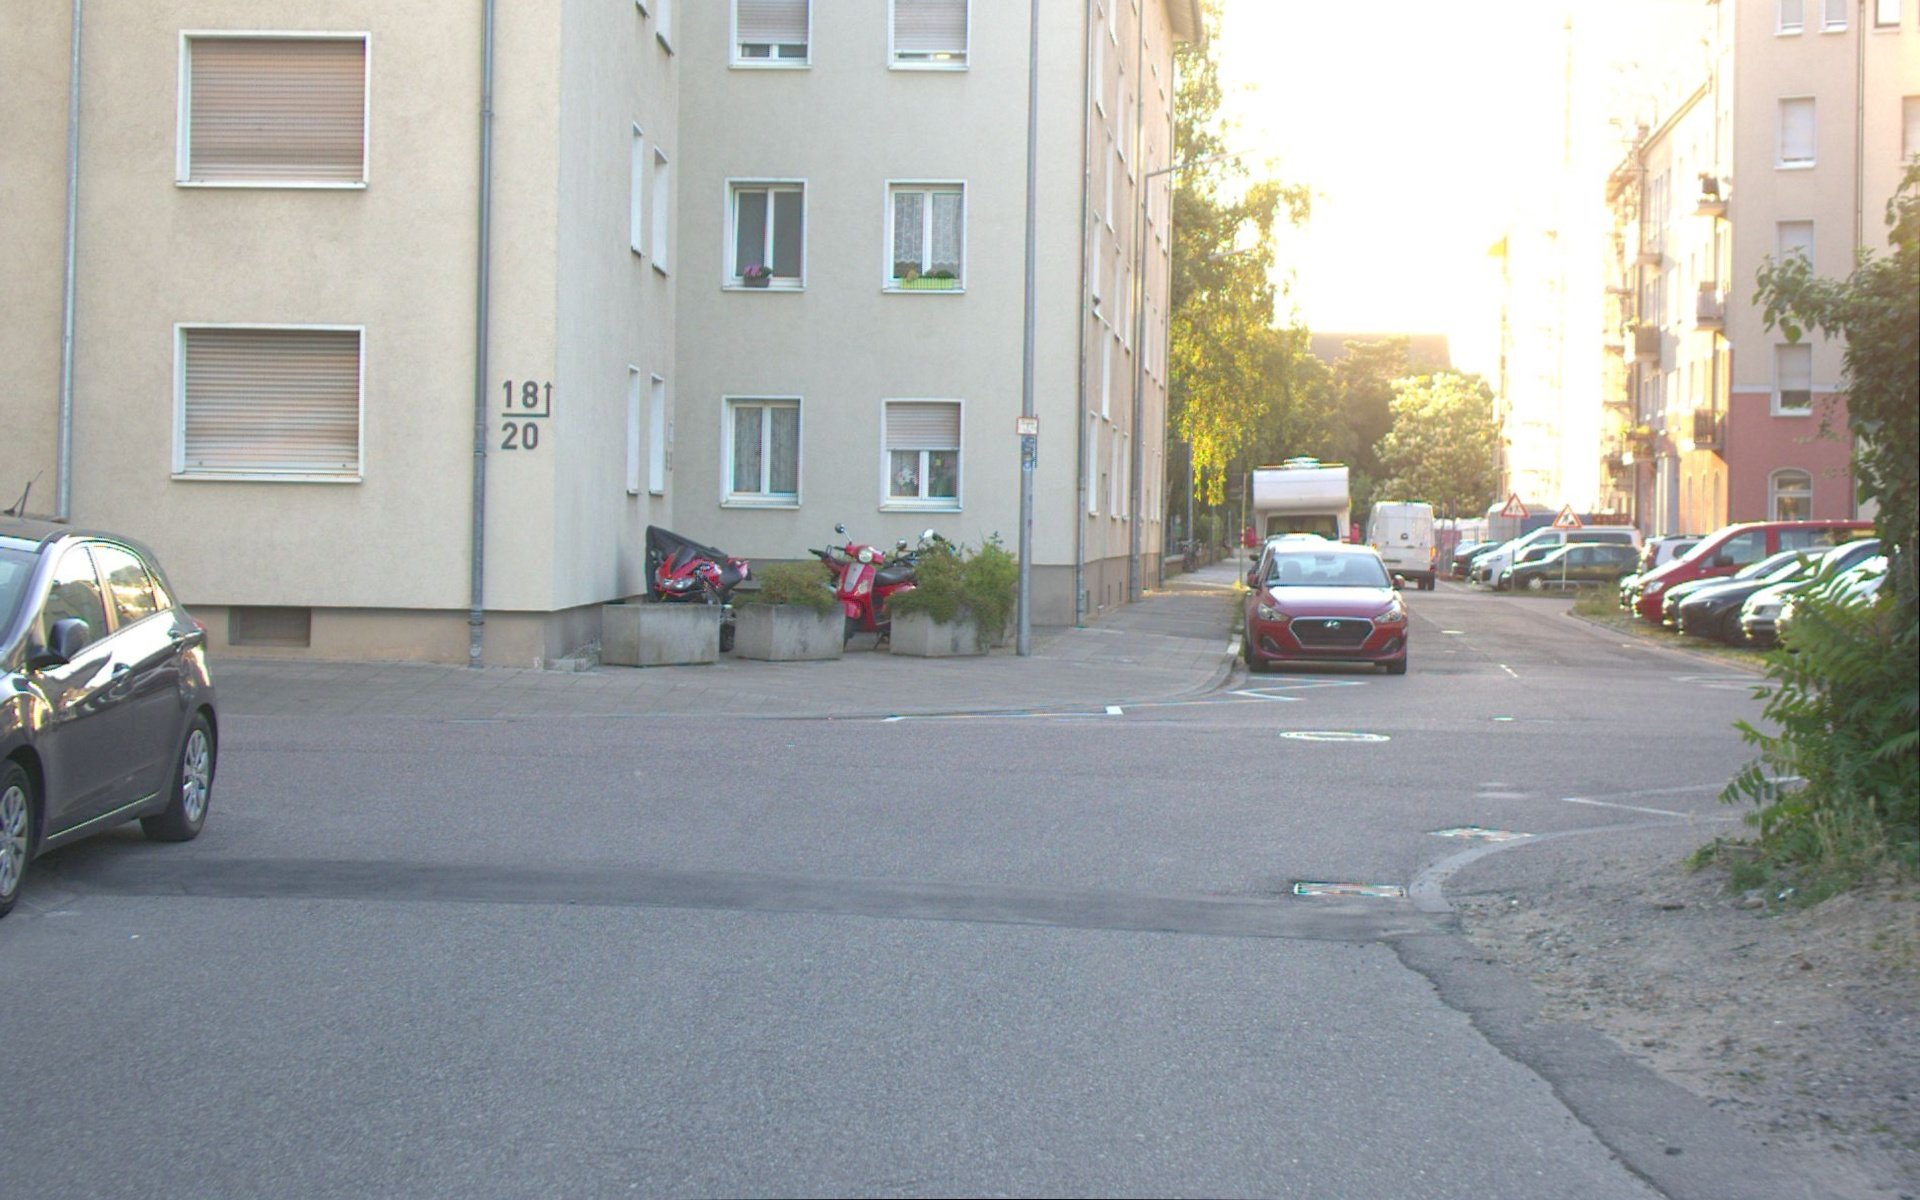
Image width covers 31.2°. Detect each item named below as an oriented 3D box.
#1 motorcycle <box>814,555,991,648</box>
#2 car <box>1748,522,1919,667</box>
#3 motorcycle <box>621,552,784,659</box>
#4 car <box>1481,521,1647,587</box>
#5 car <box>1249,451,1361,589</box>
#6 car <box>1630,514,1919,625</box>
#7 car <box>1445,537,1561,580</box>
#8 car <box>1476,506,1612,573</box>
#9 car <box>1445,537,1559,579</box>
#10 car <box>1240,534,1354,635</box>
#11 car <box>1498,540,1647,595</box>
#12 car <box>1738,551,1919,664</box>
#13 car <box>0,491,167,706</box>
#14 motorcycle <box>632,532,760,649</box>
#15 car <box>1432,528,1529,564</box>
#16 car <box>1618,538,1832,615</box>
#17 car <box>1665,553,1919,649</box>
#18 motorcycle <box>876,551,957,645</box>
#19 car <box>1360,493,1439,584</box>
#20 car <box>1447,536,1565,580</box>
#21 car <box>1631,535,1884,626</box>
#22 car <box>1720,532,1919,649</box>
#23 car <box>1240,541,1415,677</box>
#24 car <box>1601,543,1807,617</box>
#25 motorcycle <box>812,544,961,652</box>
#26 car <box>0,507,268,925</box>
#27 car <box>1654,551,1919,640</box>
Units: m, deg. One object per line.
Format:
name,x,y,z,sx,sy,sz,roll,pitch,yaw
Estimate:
motorcycle,-0.718,0.011,43.035,2.125,1.101,0.560,2,1,17
car,12.858,-0.047,46.010,4.280,1.854,1.741,1,0,6
motorcycle,-2.687,0.047,36.131,0.724,1.075,2.078,2,1,26
car,18.183,-1.393,103.657,4.814,1.961,1.738,0,1,5
car,8.565,-1.939,85.297,2.620,3.258,7.695,0,1,6
car,14.306,-0.536,60.519,4.723,1.903,2.059,0,0,5
car,19.439,-1.509,123.181,3.987,1.525,1.659,0,1,5
car,18.610,-1.930,109.660,3.987,2.007,2.000,1,1,2
car,19.741,-1.544,125.307,3.987,1.525,1.659,0,1,5
car,5.079,-0.253,52.119,1.616,1.468,3.504,0,1,4
car,17.215,-0.914,96.742,3.987,1.525,1.659,0,1,5
car,13.047,0.099,48.245,3.956,1.517,1.705,1,1,6
car,-8.903,-0.072,28.944,4.007,1.612,1.881,1,5,1
motorcycle,-2.935,-0.113,38.457,0.724,1.260,2.079,2,1,16
car,22.104,-2.282,146.050,3.987,1.525,1.659,0,1,5
car,14.585,-0.446,65.675,3.812,1.423,1.634,0,0,5
car,13.062,0.013,52.621,4.309,1.445,1.655,0,0,6
motorcycle,-0.502,-0.039,40.808,0.682,1.075,2.034,2,1,7
car,13.463,-1.877,105.532,2.129,2.708,4.833,0,1,4
car,19.136,-1.465,120.623,3.987,1.525,1.659,0,1,5
car,14.655,-0.365,63.350,4.324,1.632,1.818,0,0,5
car,13.194,-0.144,50.529,3.791,1.690,1.655,0,0,6
car,4.239,0.071,40.152,1.845,1.468,4.078,1,1,4
car,14.731,-0.397,68.188,3.812,1.423,1.634,0,0,5
motorcycle,-0.807,-0.028,38.487,0.690,1.156,2.030,2,1,30
car,-4.330,0.367,14.298,1.780,1.474,4.331,5,1,2
car,13.912,-0.075,57.983,4.145,1.466,1.636,0,0,5
